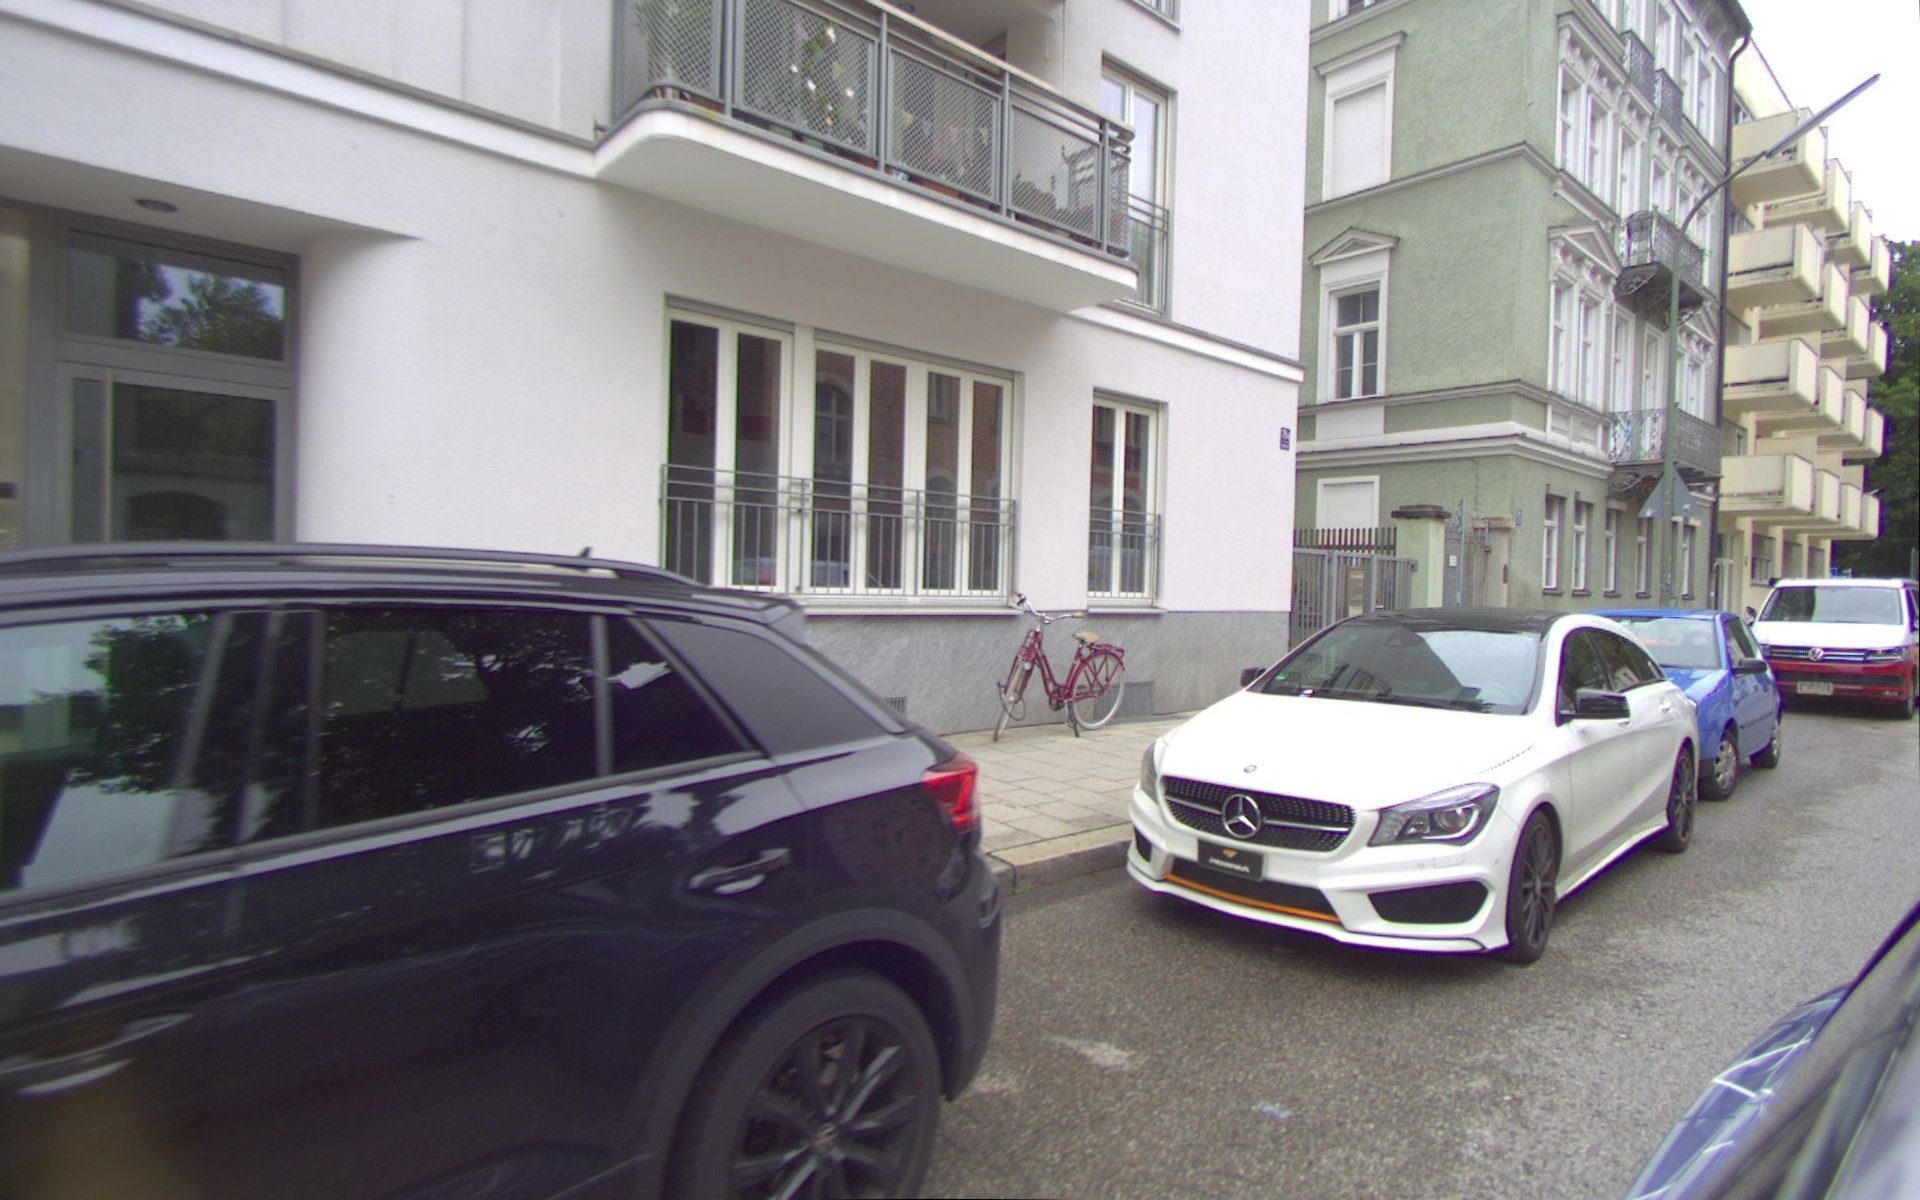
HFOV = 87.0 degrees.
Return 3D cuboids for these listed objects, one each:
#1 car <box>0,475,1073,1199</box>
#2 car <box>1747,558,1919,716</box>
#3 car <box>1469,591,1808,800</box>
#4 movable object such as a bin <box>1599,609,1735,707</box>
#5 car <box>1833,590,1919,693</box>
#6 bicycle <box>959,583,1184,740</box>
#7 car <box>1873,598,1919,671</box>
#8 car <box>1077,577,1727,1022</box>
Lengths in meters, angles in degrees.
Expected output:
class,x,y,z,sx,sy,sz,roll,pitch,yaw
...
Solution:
class,x,y,z,sx,sy,sz,roll,pitch,yaw
car,-1.768,0.624,1.827,3.955,1.552,1.839,1,0,-44
car,13.680,0.498,15.380,4.699,2.057,1.857,1,0,-41
car,6.060,0.678,8.882,3.657,1.441,1.717,1,-1,-43
movable object such as a bin,10.049,0.780,14.360,2.125,1.207,1.023,1,3,-41
car,17.869,0.715,18.795,4.615,1.732,1.859,1,0,-41
bicycle,0.992,0.471,8.651,1.939,1.187,0.803,1,0,-41
car,21.841,0.783,22.555,4.261,1.485,1.752,1,2,-42
car,2.666,0.675,5.476,4.302,1.486,1.666,1,0,-43
